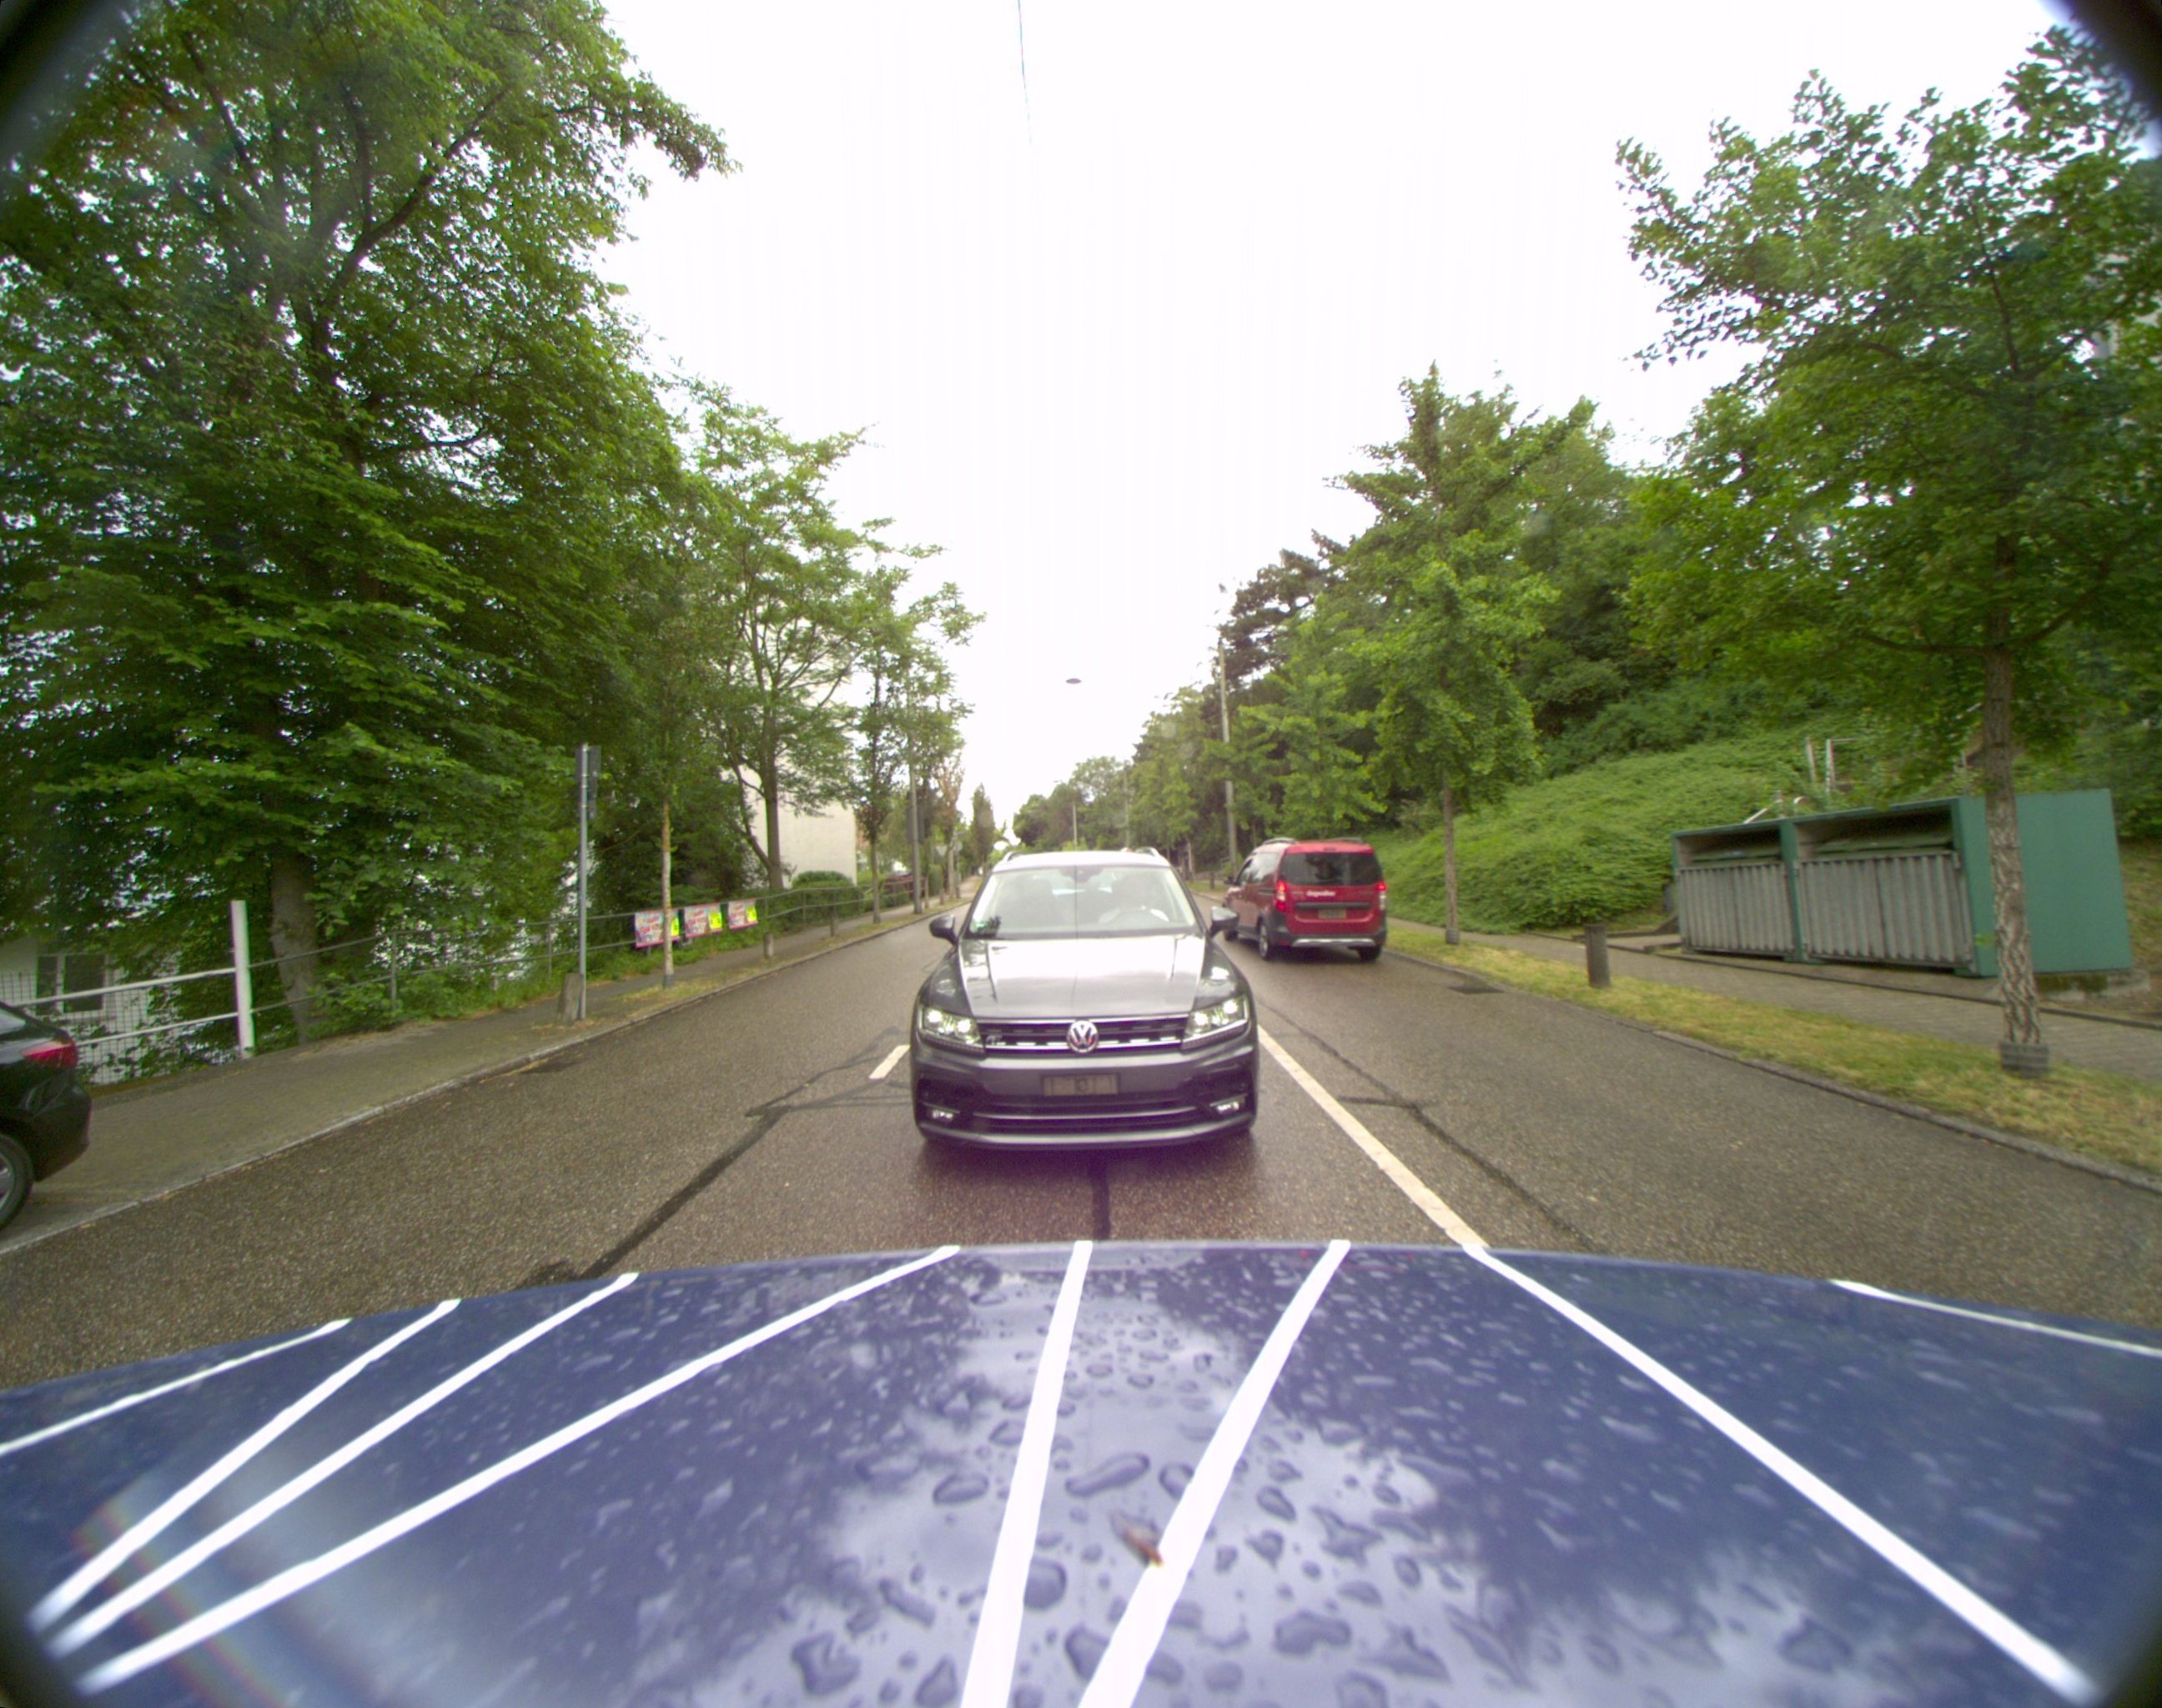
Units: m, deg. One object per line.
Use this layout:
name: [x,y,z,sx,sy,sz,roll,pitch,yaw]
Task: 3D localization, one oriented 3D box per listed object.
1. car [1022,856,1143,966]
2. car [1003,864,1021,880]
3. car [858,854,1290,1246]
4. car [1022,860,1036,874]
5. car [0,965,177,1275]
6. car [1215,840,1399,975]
car: [0.054,0.909,14.206,1.834,1.608,4.350,-3,1,1]
car: [-7.913,2.061,87.133,1.893,1.710,4.234,-1,1,-7]
car: [0.002,0.873,5.507,1.834,1.608,4.292,-3,1,1]
car: [-8.153,2.044,119.694,1.835,2.003,4.055,-3,1,-7]
car: [-6.325,1.385,2.248,1.999,1.426,4.442,-1,0,-1]
car: [3.459,0.713,12.533,1.751,1.817,4.458,-1,1,1]
